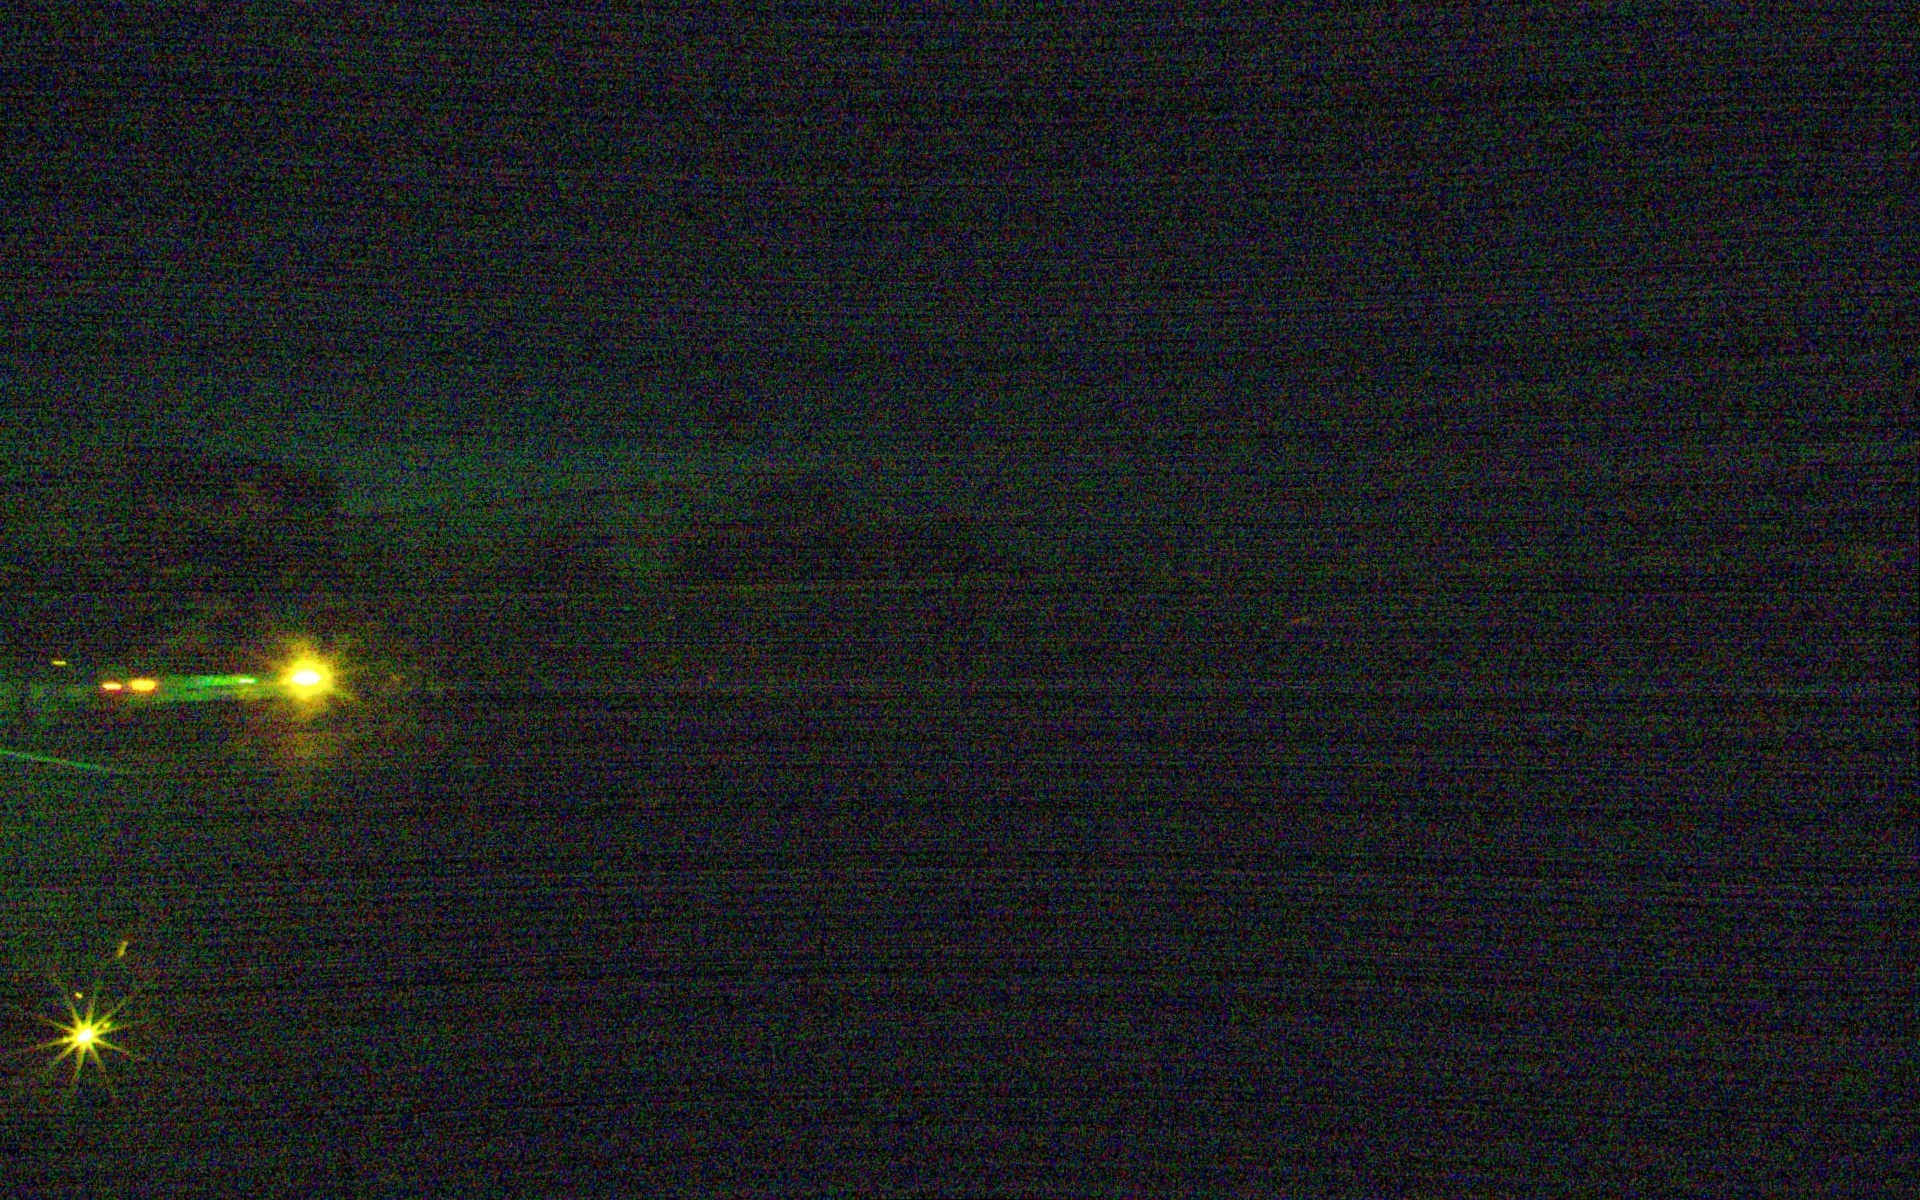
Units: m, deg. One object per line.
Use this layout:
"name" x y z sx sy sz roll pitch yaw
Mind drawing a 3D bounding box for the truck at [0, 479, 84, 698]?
"truck" -21.429 -0.178 20.600 7.397 4.130 2.859 -1 -1 30

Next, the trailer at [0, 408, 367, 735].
"trailer" -15.292 -0.262 17.102 13.006 4.120 2.851 -1 -1 30
